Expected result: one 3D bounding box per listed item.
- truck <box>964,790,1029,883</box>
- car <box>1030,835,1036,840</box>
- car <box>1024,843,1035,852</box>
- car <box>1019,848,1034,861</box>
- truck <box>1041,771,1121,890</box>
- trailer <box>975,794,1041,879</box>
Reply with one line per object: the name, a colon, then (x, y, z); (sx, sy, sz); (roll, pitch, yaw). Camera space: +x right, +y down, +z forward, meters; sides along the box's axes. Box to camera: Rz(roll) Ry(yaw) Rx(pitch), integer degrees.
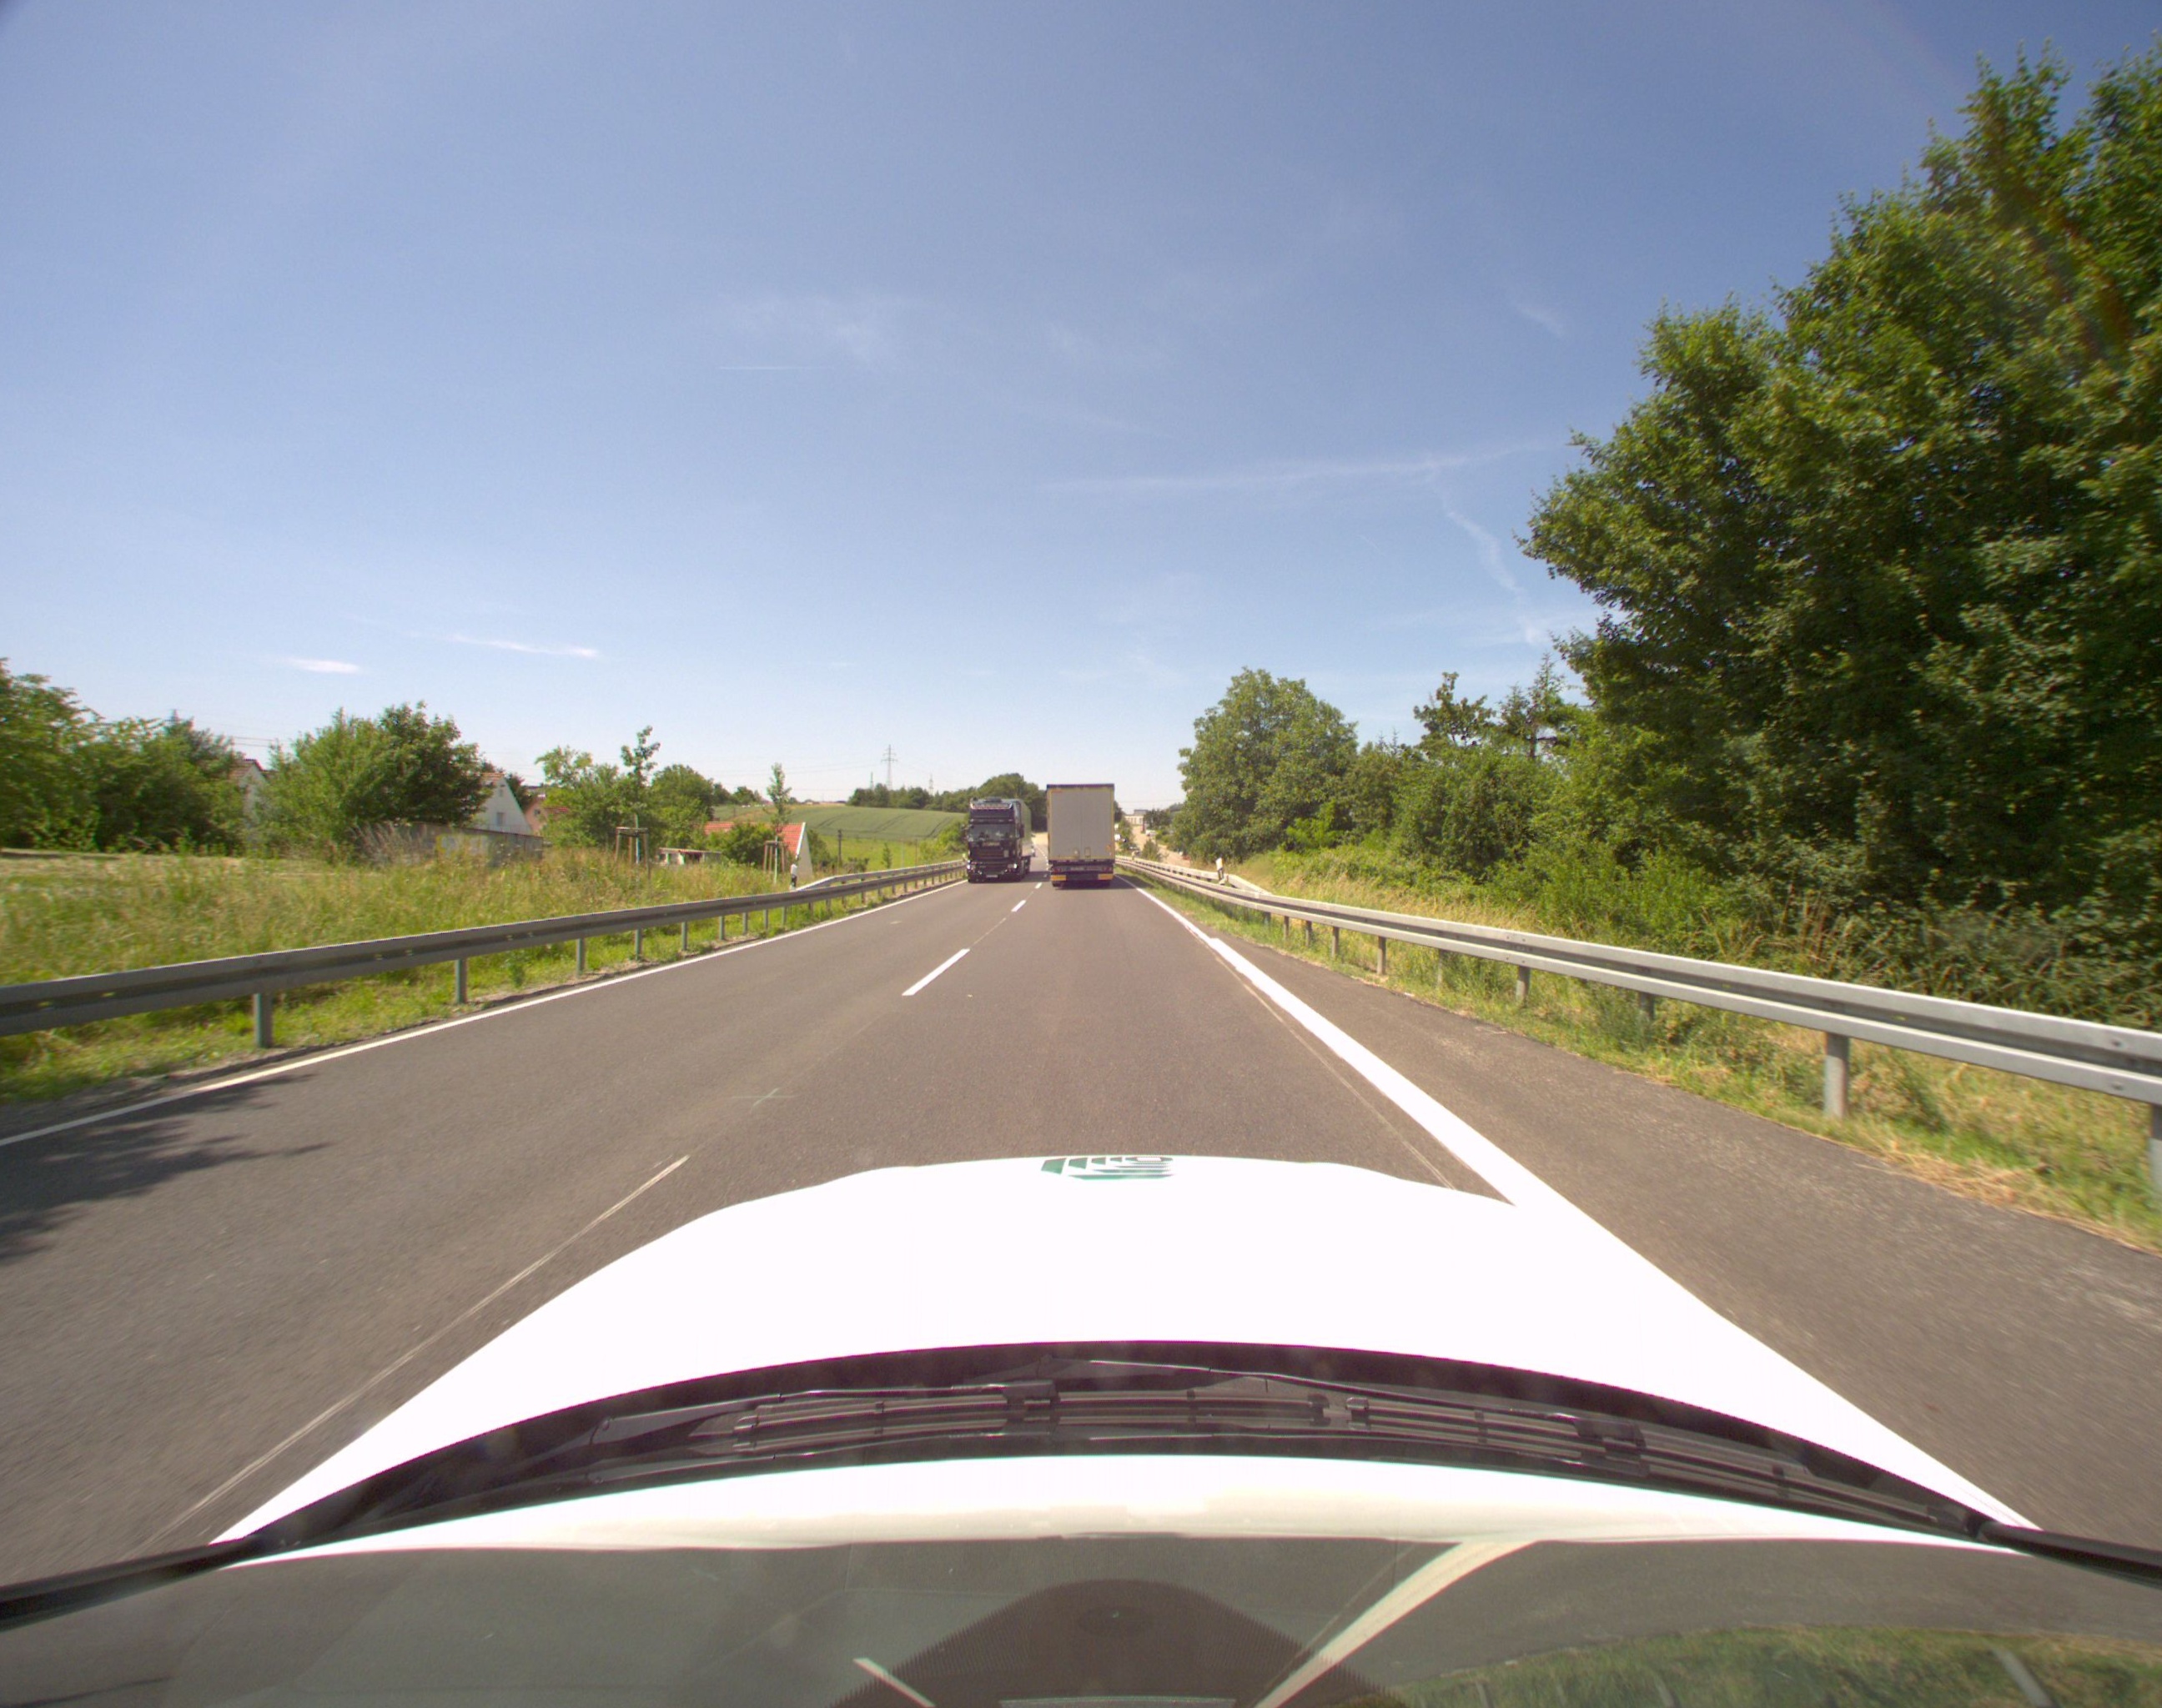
truck: (-4.030, -0.844, 40.135); (2.437, 4.194, 5.649); (-2, 0, 0)
car: (-14.789, -5.117, 252.255); (1.778, 1.435, 4.827); (-1, 1, -4)
car: (-9.206, -1.119, 145.765); (1.802, 1.589, 4.375); (-2, 1, -3)
car: (-6.657, 0.081, 99.375); (1.643, 1.440, 4.152); (-2, 1, -5)
truck: (-0.060, -0.913, 35.379); (2.857, 4.359, 9.785); (-2, 0, -1)
trailer: (-4.015, -0.931, 47.930); (2.438, 4.184, 14.013); (-2, 1, 0)
